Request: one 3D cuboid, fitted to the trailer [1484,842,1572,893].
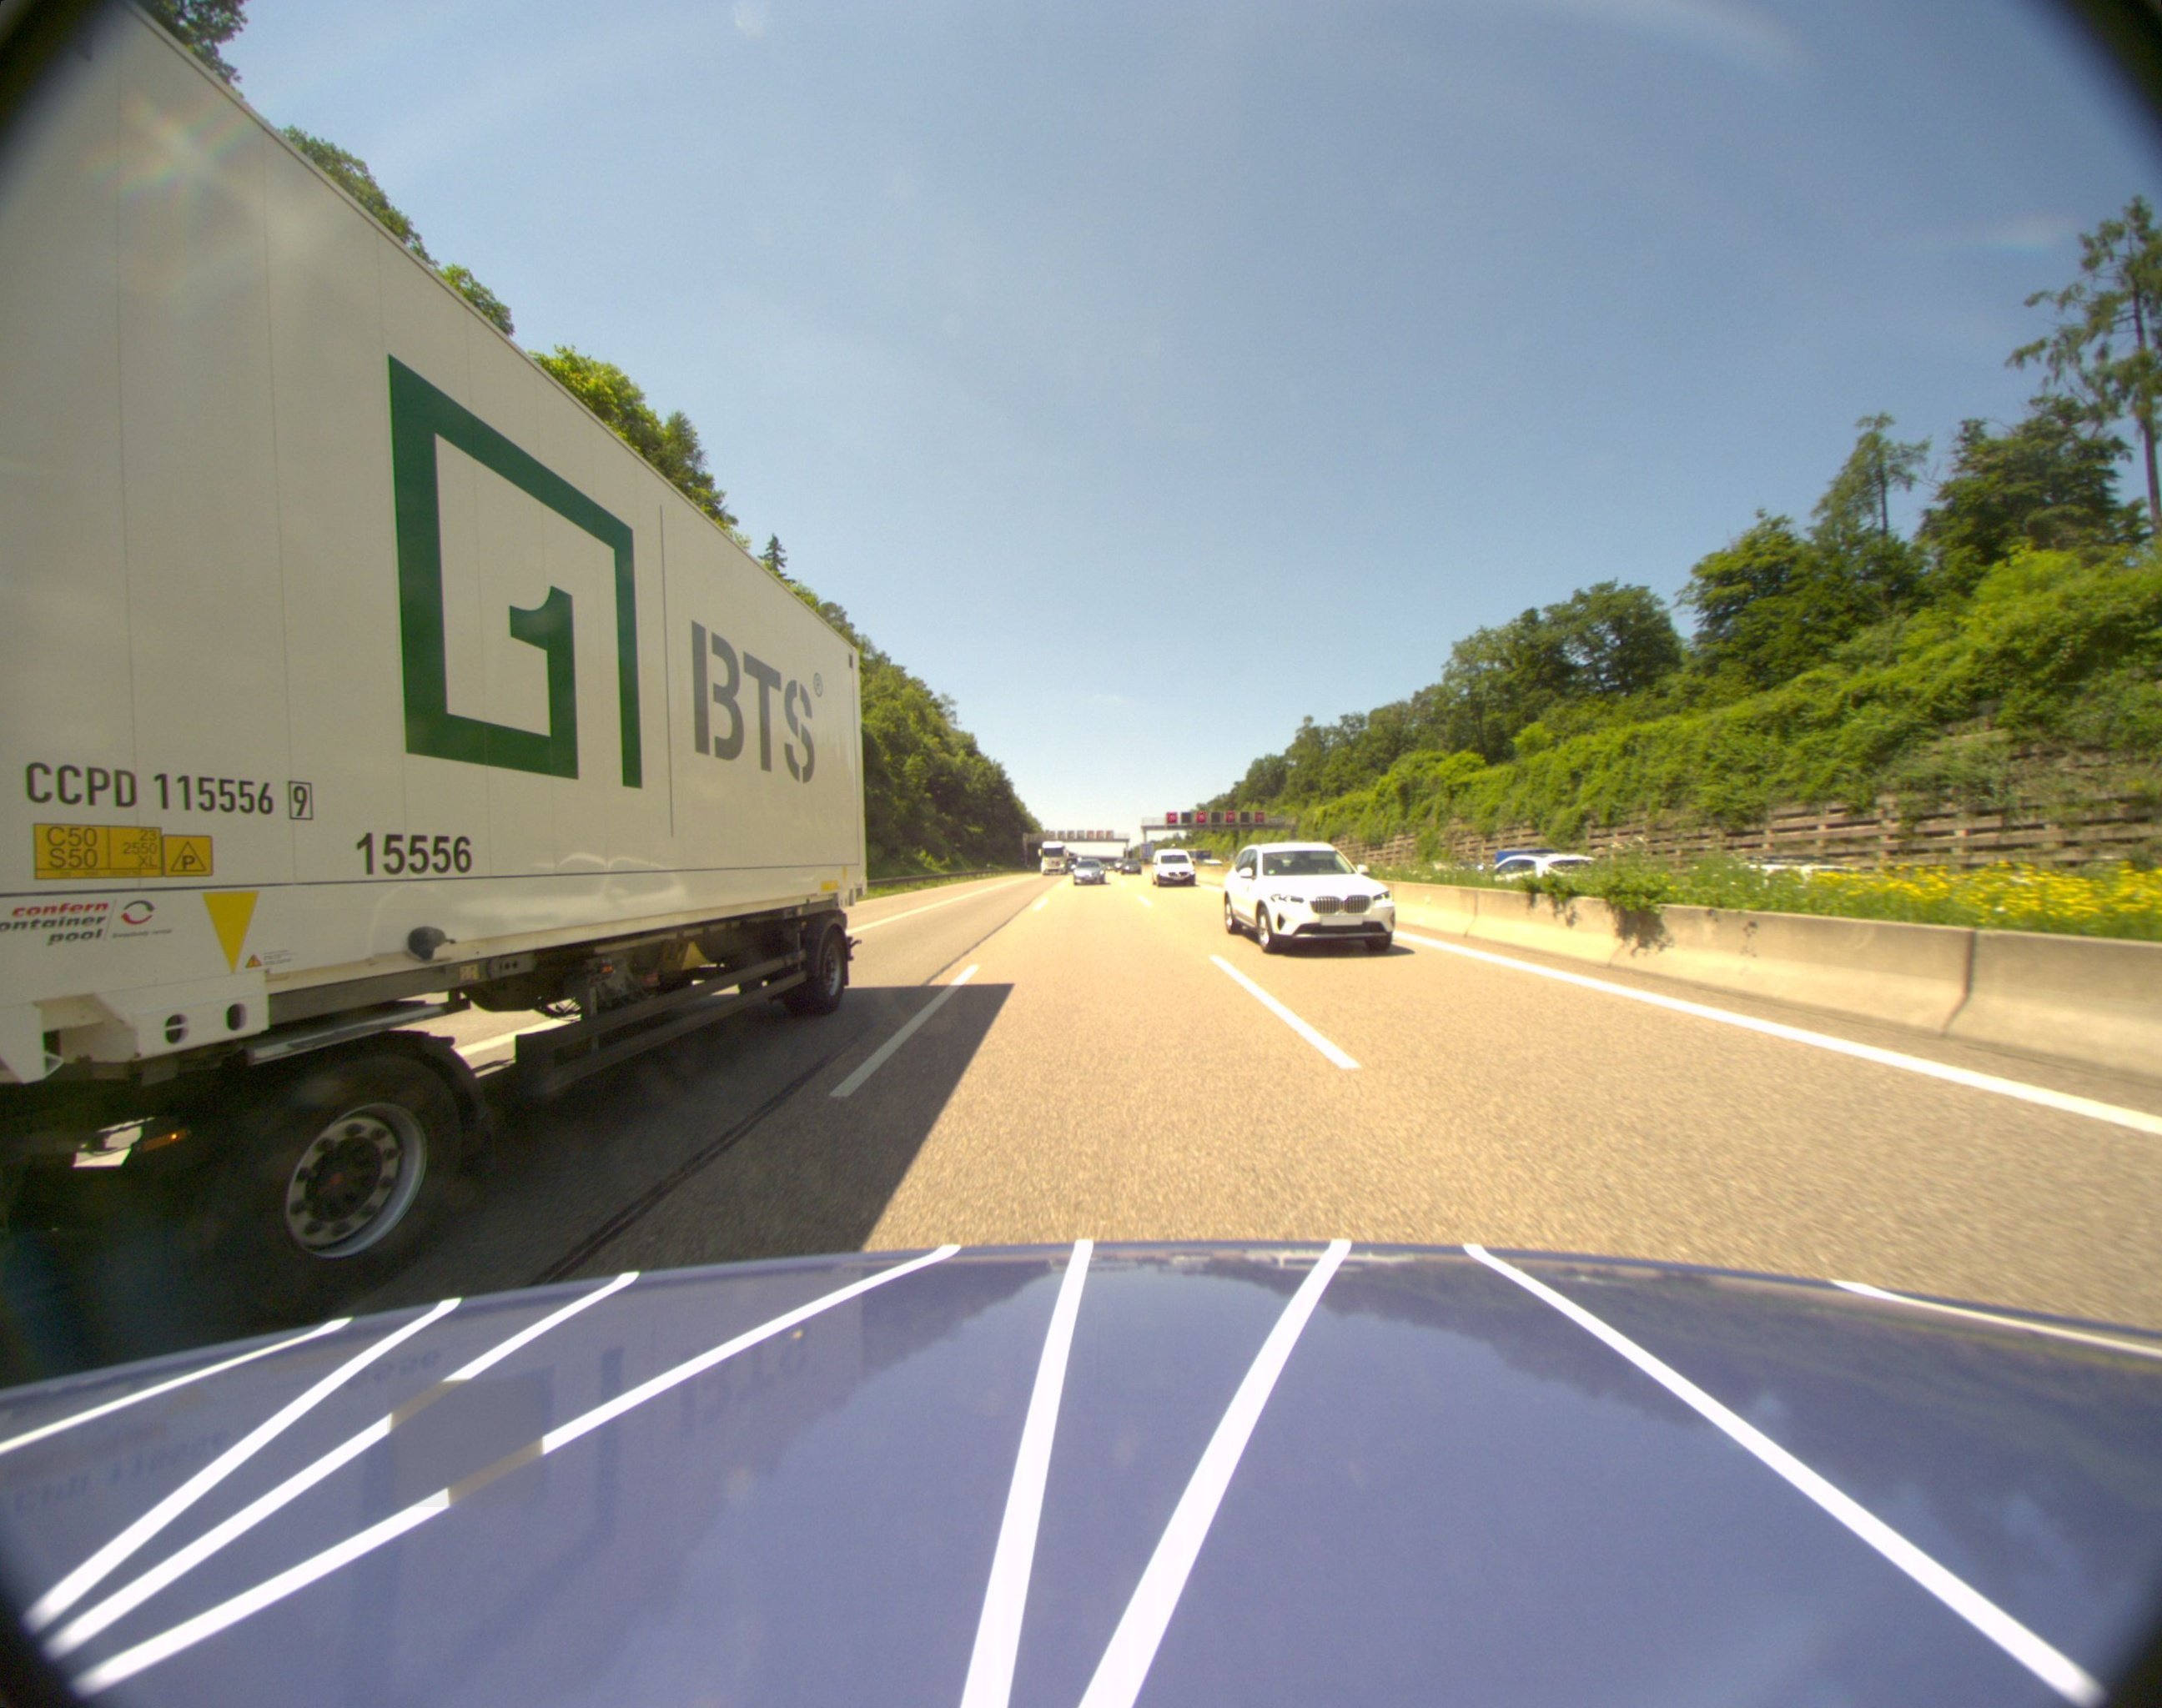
[{"bbox_3d":[19.451,0.550,33.238,1.900,2.104,3.495,0,0,2],"label":"trailer"}]

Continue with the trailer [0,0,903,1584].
[{"bbox_3d":[-3.871,-0.297,5.247,2.687,4.150,10.066,-2,-1,1],"label":"trailer"}]

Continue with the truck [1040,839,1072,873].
[{"bbox_3d":[-2.726,0.289,87.080,2.844,3.517,13.089,-3,-1,0],"label":"truck"}]

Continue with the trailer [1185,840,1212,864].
[{"bbox_3d":[20.774,-0.201,134.763,2.687,3.991,14.190,-1,-1,0],"label":"trailer"}]

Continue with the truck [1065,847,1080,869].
[{"bbox_3d":[-1.787,0.903,162.730,2.627,4.364,13.089,-3,-1,0],"label":"truck"}]

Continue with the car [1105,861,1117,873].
[{"bbox_3d":[5.037,2.201,129.104,1.924,1.848,4.001,-3,-1,2],"label":"car"}]

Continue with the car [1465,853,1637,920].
[{"bbox_3d":[11.735,0.751,19.366,1.792,1.513,4.203,0,0,0],"label":"car"}]

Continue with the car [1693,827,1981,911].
[{"bbox_3d":[15.427,0.276,15.918,1.942,1.513,4.204,0,0,2],"label":"car"}]

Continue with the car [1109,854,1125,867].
[{"bbox_3d":[4.458,0.808,94.526,1.770,1.504,4.000,-3,-1,0],"label":"car"}]

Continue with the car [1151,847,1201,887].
[{"bbox_3d":[4.625,0.623,37.490,1.998,1.764,4.502,-3,-1,2],"label":"car"}]

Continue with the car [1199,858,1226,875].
[{"bbox_3d":[12.366,1.120,71.543,1.942,1.513,4.204,0,0,2],"label":"car"}]

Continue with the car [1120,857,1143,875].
[{"bbox_3d":[4.650,1.094,70.018,1.770,1.504,4.726,-3,-1,0],"label":"car"}]

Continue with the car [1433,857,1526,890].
[{"bbox_3d":[19.617,0.896,37.729,1.942,1.513,5.477,0,0,2],"label":"car"}]

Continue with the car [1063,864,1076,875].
[{"bbox_3d":[-1.686,2.312,115.495,1.770,1.504,4.000,-3,-1,0],"label":"car"}]

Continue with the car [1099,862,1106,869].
[{"bbox_3d":[5.813,3.161,205.863,1.924,1.848,4.001,-3,-1,2],"label":"car"}]

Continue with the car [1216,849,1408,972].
[{"bbox_3d":[3.585,0.778,12.694,1.850,1.634,4.368,-2,0,0],"label":"car"}]

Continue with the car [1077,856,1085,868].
[{"bbox_3d":[-0.023,2.487,232.173,1.924,3.522,4.825,-3,-1,2],"label":"car"}]

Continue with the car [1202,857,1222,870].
[{"bbox_3d":[16.924,1.187,98.320,1.897,1.597,5.078,-1,-1,2],"label":"car"}]

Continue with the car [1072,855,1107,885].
[{"bbox_3d":[0.550,0.888,43.703,1.843,1.517,4.502,-3,-1,2],"label":"car"}]
